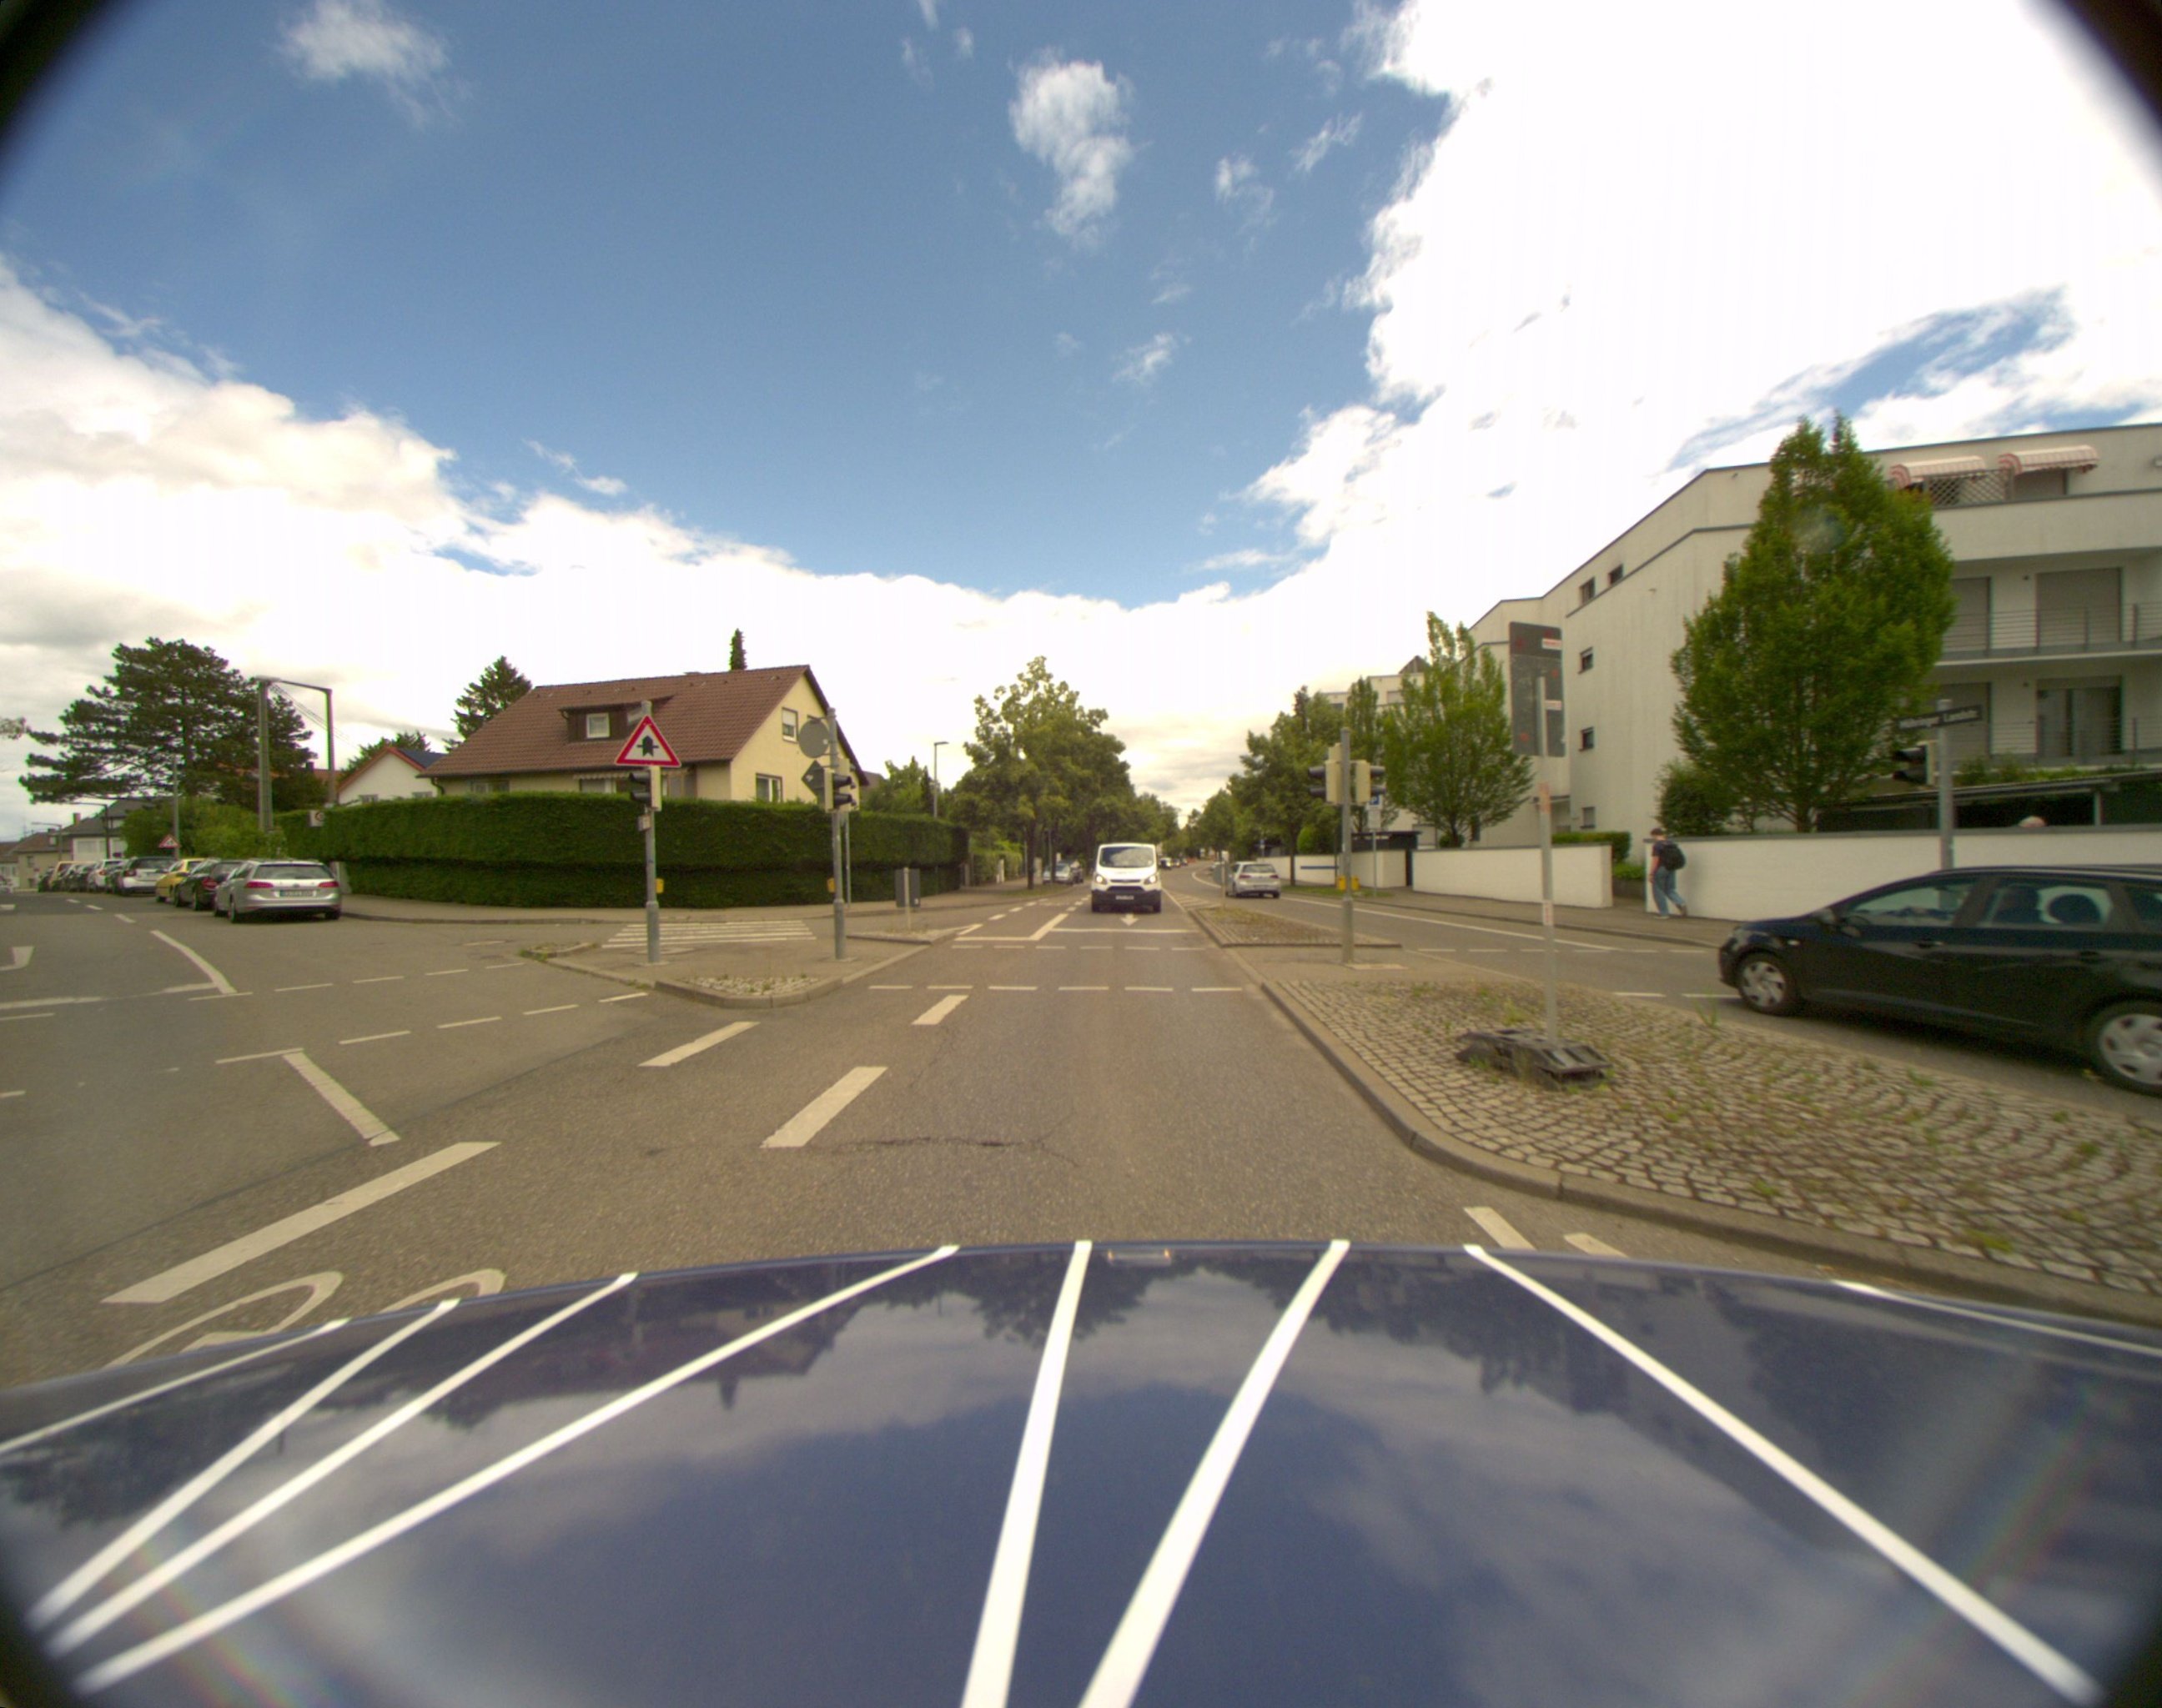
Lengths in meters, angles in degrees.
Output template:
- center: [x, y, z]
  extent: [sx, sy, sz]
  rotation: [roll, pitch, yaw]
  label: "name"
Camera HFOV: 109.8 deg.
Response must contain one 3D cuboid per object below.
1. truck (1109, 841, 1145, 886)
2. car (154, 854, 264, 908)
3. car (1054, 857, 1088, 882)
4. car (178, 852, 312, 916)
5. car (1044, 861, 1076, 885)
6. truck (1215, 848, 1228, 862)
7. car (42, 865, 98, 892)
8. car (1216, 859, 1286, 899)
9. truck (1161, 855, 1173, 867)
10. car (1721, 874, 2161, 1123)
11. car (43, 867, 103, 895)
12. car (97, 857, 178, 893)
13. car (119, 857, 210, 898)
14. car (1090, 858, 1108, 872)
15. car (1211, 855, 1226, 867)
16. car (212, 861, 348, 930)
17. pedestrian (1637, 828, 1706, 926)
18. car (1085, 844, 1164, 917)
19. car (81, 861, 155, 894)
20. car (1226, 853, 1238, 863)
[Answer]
- center: [2.866, 0.537, 46.005]
  extent: [2.035, 2.555, 6.060]
  rotation: [0, 0, 5]
  label: "truck"
- center: [-28.546, 0.819, 24.855]
  extent: [4.127, 1.604, 1.875]
  rotation: [0, 1, 34]
  label: "car"
- center: [-0.624, 1.028, 52.330]
  extent: [1.769, 1.626, 4.550]
  rotation: [-1, 0, 6]
  label: "car"
- center: [-24.014, 0.780, 21.806]
  extent: [4.127, 1.631, 2.004]
  rotation: [0, 1, 34]
  label: "car"
- center: [-1.226, 1.125, 46.101]
  extent: [1.561, 1.343, 3.541]
  rotation: [0, 0, 5]
  label: "car"
- center: [28.730, 0.142, 155.320]
  extent: [2.639, 2.757, 6.262]
  rotation: [-1, 0, 11]
  label: "truck"
- center: [-64.736, 1.514, 48.647]
  extent: [4.418, 1.582, 1.916]
  rotation: [0, 1, 34]
  label: "car"
- center: [6.805, 0.965, 30.841]
  extent: [1.803, 1.435, 3.947]
  rotation: [-1, 0, -2]
  label: "car"
- center: [12.951, 1.063, 114.261]
  extent: [1.614, 1.780, 4.003]
  rotation: [0, 0, 9]
  label: "truck"
- center: [7.209, 0.897, 5.497]
  extent: [1.725, 1.383, 3.916]
  rotation: [0, 0, -3]
  label: "car"
- center: [-60.019, 1.564, 45.242]
  extent: [4.455, 1.462, 1.916]
  rotation: [0, 1, 34]
  label: "car"
- center: [-41.769, 0.894, 33.624]
  extent: [4.339, 1.462, 1.875]
  rotation: [0, 1, 34]
  label: "car"
- center: [-36.229, 0.867, 30.019]
  extent: [4.339, 1.462, 1.875]
  rotation: [0, 1, 34]
  label: "car"
- center: [1.932, 1.180, 80.531]
  extent: [1.666, 1.398, 3.659]
  rotation: [-1, 0, 5]
  label: "car"
- center: [18.684, 0.946, 102.967]
  extent: [1.915, 1.643, 4.004]
  rotation: [-1, 0, 12]
  label: "car"
- center: [-19.378, 0.917, 18.352]
  extent: [3.911, 1.435, 1.717]
  rotation: [1, 0, 35]
  label: "car"
- center: [12.223, 0.466, 15.742]
  extent: [0.650, 1.936, 0.871]
  rotation: [-4, 1, 0]
  label: "pedestrian"
- center: [1.475, 0.704, 23.180]
  extent: [2.074, 1.956, 5.560]
  rotation: [0, 0, 7]
  label: "car"
- center: [-47.528, 1.116, 37.478]
  extent: [4.773, 1.462, 1.916]
  rotation: [0, 1, 34]
  label: "car"
- center: [25.739, 0.667, 129.359]
  extent: [1.888, 1.606, 4.004]
  rotation: [-1, 0, 12]
  label: "car"
